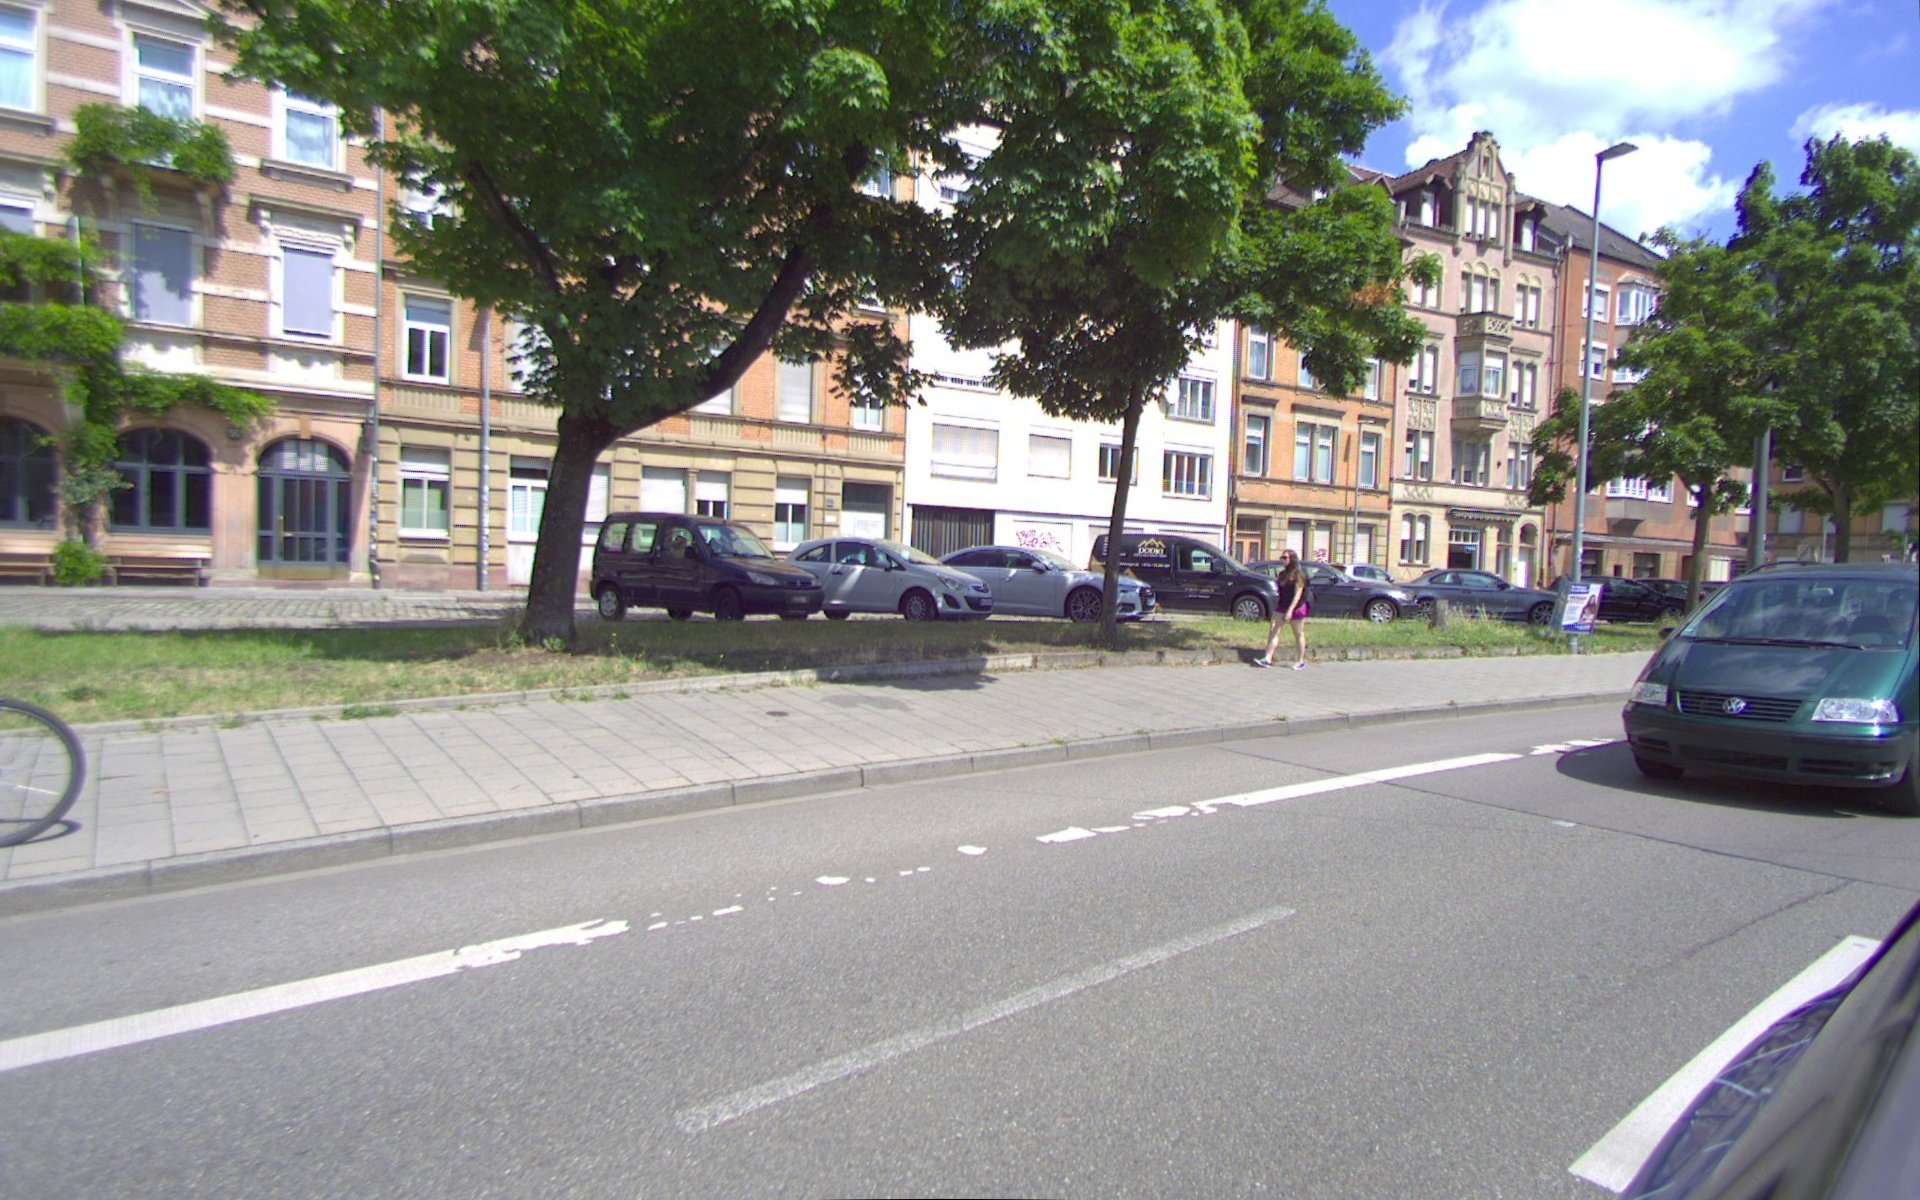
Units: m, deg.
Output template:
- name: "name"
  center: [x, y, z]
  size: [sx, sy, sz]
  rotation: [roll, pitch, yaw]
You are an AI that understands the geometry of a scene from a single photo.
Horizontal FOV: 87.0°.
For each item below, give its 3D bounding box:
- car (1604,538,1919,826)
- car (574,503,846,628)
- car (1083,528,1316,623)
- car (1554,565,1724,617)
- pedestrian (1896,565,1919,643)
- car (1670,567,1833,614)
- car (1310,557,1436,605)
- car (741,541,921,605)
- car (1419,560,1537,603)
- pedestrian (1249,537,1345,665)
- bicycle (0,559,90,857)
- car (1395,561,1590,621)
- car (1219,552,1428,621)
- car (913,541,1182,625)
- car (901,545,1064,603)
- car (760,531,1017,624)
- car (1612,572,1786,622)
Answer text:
- name: "car"
  center: [7.491, 0.446, 8.342]
  size: [4.934, 1.778, 1.826]
  rotation: [-1, 2, -34]
- name: "car"
  center: [-4.011, -0.557, 16.065]
  size: [4.116, 1.762, 1.833]
  rotation: [2, 2, 31]
- name: "car"
  center: [4.851, -0.535, 20.546]
  size: [4.320, 1.762, 1.837]
  rotation: [1, 2, 25]
- name: "car"
  center: [19.616, -0.308, 29.433]
  size: [3.972, 1.397, 1.939]
  rotation: [2, 2, 33]
- name: "pedestrian"
  center: [22.119, 0.089, 23.121]
  size: [1.024, 1.724, 0.704]
  rotation: [0, 4, -30]
- name: "car"
  center: [25.197, -0.350, 32.334]
  size: [3.980, 1.371, 1.934]
  rotation: [2, 2, 39]
- name: "car"
  center: [14.908, -0.681, 36.518]
  size: [4.405, 1.635, 1.841]
  rotation: [0, 2, -29]
- name: "car"
  center: [-3.257, -0.666, 25.689]
  size: [4.142, 1.510, 1.841]
  rotation: [0, 2, -29]
- name: "car"
  center: [20.438, -0.726, 39.908]
  size: [4.403, 1.635, 1.841]
  rotation: [0, 2, -26]
- name: "pedestrian"
  center: [4.494, -0.005, 13.519]
  size: [0.887, 1.610, 0.704]
  rotation: [0, 5, -30]
- name: "bicycle"
  center: [-4.916, 0.486, 4.320]
  size: [1.808, 1.256, 0.696]
  rotation: [-1, 8, -42]
- name: "car"
  center: [13.404, -0.271, 25.746]
  size: [4.225, 1.397, 1.837]
  rotation: [1, 2, 25]
- name: "car"
  center: [8.089, -0.346, 22.565]
  size: [4.225, 1.397, 1.837]
  rotation: [1, 2, 25]
- name: "car"
  center: [1.588, -0.360, 18.756]
  size: [4.648, 1.397, 1.835]
  rotation: [2, 2, 27]
- name: "car"
  center: [0.639, -0.707, 27.885]
  size: [4.142, 1.510, 1.841]
  rotation: [0, 2, -29]
- name: "car"
  center: [-1.232, -0.417, 17.289]
  size: [4.044, 1.423, 1.836]
  rotation: [2, 2, 26]
- name: "car"
  center: [22.251, -0.134, 30.693]
  size: [3.964, 1.397, 1.942]
  rotation: [2, 2, 29]
